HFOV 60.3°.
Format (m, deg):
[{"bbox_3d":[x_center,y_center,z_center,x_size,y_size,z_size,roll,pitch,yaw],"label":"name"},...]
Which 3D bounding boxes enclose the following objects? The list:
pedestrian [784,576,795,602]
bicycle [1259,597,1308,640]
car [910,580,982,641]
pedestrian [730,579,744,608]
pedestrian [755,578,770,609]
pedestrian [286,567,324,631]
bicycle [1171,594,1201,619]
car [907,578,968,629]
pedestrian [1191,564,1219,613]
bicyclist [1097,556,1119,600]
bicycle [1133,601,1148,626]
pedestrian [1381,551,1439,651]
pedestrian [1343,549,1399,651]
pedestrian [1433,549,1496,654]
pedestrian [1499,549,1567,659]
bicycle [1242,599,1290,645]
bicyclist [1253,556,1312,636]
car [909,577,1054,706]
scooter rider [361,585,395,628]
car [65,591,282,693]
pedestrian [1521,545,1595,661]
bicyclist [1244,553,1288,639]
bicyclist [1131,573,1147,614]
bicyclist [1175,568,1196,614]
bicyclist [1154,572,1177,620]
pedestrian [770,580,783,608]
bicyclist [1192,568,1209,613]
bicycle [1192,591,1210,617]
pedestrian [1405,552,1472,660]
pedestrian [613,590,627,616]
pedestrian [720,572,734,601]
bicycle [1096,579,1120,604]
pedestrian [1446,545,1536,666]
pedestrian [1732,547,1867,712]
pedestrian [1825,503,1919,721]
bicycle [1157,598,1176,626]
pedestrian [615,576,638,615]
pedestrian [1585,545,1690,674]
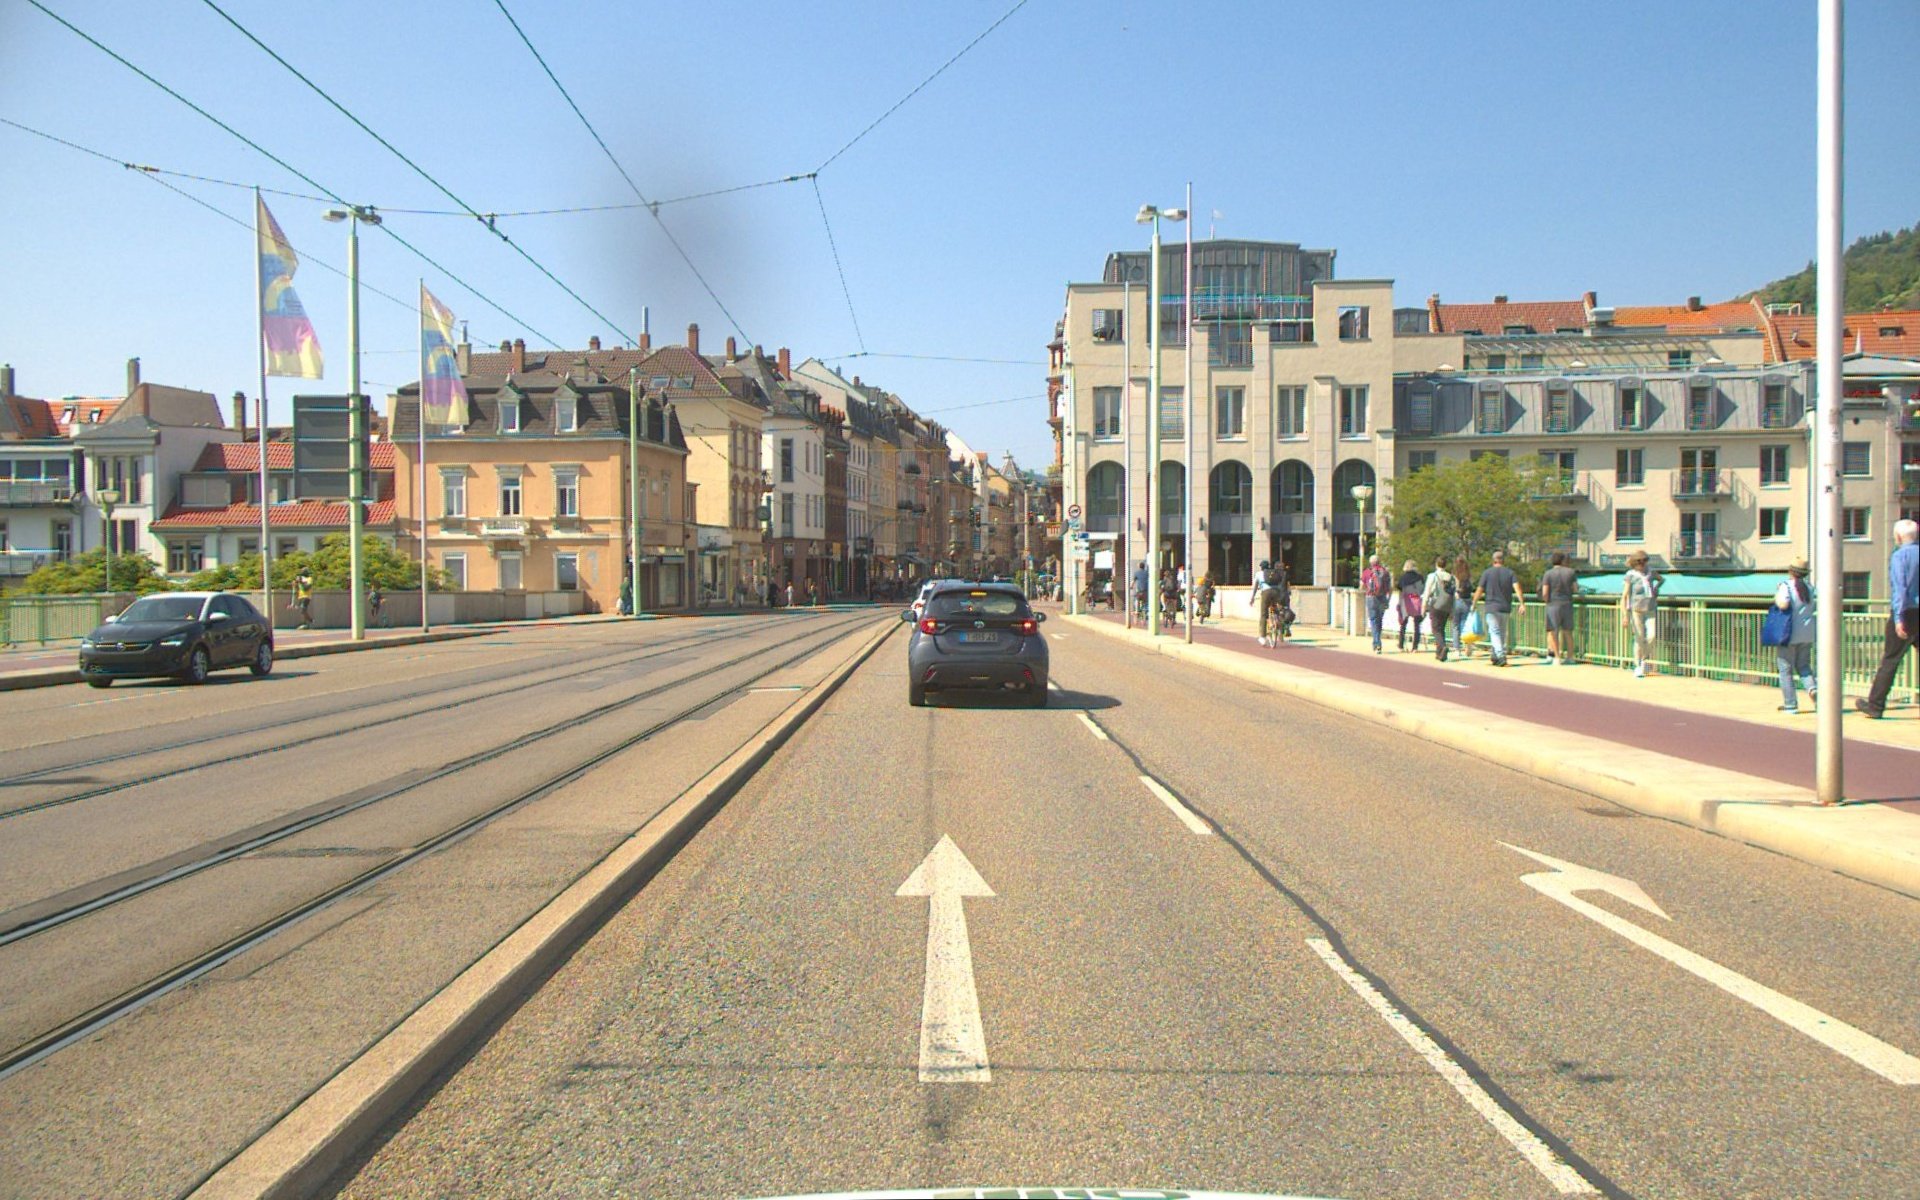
[{"bbox_3d":[-12.026,-0.778,116.498,0.721,1.797,0.787,0,1,-1],"label":"pedestrian"},{"bbox_3d":[7.158,0.402,36.642,0.781,0.898,1.829,-1,1,2],"label":"bicycle"},{"bbox_3d":[-0.393,0.244,45.122,1.858,1.556,3.999,1,1,-1],"label":"car"},{"bbox_3d":[-12.947,-0.385,95.858,0.636,1.629,0.566,4,2,0],"label":"pedestrian"},{"bbox_3d":[-12.009,-0.388,100.625,0.721,1.796,0.787,4,0,0],"label":"pedestrian"},{"bbox_3d":[-18.848,-0.026,47.606,0.730,1.812,0.802,-1,0,4],"label":"pedestrian"},{"bbox_3d":[7.400,0.217,54.160,0.413,0.779,0.948,0,3,-39],"label":"bicycle"},{"bbox_3d":[-0.720,0.086,53.305,1.858,1.556,3.999,1,1,-1],"label":"car"},{"bbox_3d":[8.612,-0.407,58.080,0.724,1.642,1.015,4,0,-1],"label":"pedestrian"},{"bbox_3d":[8.653,-1.296,96.859,1.202,2.573,1.105,0,0,2],"label":"bicyclist"},{"bbox_3d":[5.650,0.419,51.776,0.407,0.779,0.962,-2,0,3],"label":"bicycle"},{"bbox_3d":[8.380,0.011,30.834,0.724,1.808,1.015,-2,0,-1],"label":"pedestrian"},{"bbox_3d":[7.621,-0.009,30.707,0.724,1.833,1.015,-2,0,-1],"label":"pedestrian"},{"bbox_3d":[8.807,0.023,28.915,0.724,1.776,1.015,-2,0,-1],"label":"pedestrian"},{"bbox_3d":[9.283,0.059,26.819,0.724,1.748,1.015,-1,0,-1],"label":"pedestrian"},{"bbox_3d":[6.280,0.446,34.013,0.689,0.898,1.525,-1,1,0],"label":"bicycle"},{"bbox_3d":[7.144,-0.103,36.675,1.115,1.725,0.925,-1,0,2],"label":"bicyclist"},{"bbox_3d":[0.229,0.471,21.345,1.685,1.499,3.657,1,1,-1],"label":"car"},{"bbox_3d":[-18.612,0.202,52.860,0.752,1.338,0.598,4,0,11],"label":"scooter rider"},{"bbox_3d":[-12.653,0.618,26.875,1.681,1.480,3.901,-1,1,-1],"label":"car"},{"bbox_3d":[9.303,0.042,25.773,0.724,1.748,1.015,-2,0,-1],"label":"pedestrian"},{"bbox_3d":[6.285,-0.078,33.998,0.687,1.725,0.924,-1,0,0],"label":"bicyclist"},{"bbox_3d":[5.596,-0.211,51.784,0.413,1.278,0.443,-2,0,2],"label":"bicyclist"},{"bbox_3d":[7.401,-0.286,54.180,0.480,1.491,0.437,0,3,-39],"label":"bicyclist"},{"bbox_3d":[5.976,-0.122,48.157,0.527,1.339,0.672,-3,0,1],"label":"bicyclist"},{"bbox_3d":[-11.074,-0.349,99.780,0.636,1.629,0.566,4,2,0],"label":"pedestrian"},{"bbox_3d":[7.523,-0.302,51.766,0.413,1.407,0.443,-2,0,-1],"label":"bicyclist"},{"bbox_3d":[7.536,0.126,51.775,0.408,0.779,0.962,-2,0,0],"label":"bicycle"},{"bbox_3d":[7.990,0.091,27.641,0.739,1.748,1.073,-2,0,-1],"label":"pedestrian"},{"bbox_3d":[-15.698,0.137,76.342,0.403,1.166,0.545,4,0,8],"label":"pedestrian"},{"bbox_3d":[-13.655,-0.802,96.838,0.636,1.629,0.566,4,2,0],"label":"pedestrian"},{"bbox_3d":[8.671,-0.537,97.030,1.089,1.445,3.007,0,1,-1],"label":"bicycle"},{"bbox_3d":[8.266,0.077,25.791,0.957,1.808,1.207,-2,0,-1],"label":"pedestrian"},{"bbox_3d":[8.301,0.281,16.388,0.812,1.556,0.933,-2,0,-1],"label":"pedestrian"},{"bbox_3d":[8.748,0.098,15.262,0.907,1.930,1.137,-1,0,-1],"label":"pedestrian"},{"bbox_3d":[6.014,0.354,48.218,0.408,0.779,1.206,-2,1,1],"label":"bicycle"},{"bbox_3d":[-14.970,-0.188,74.329,0.746,1.682,0.712,4,0,2],"label":"pedestrian"},{"bbox_3d":[9.214,0.119,22.543,0.928,1.691,1.082,-2,0,-1],"label":"pedestrian"}]
